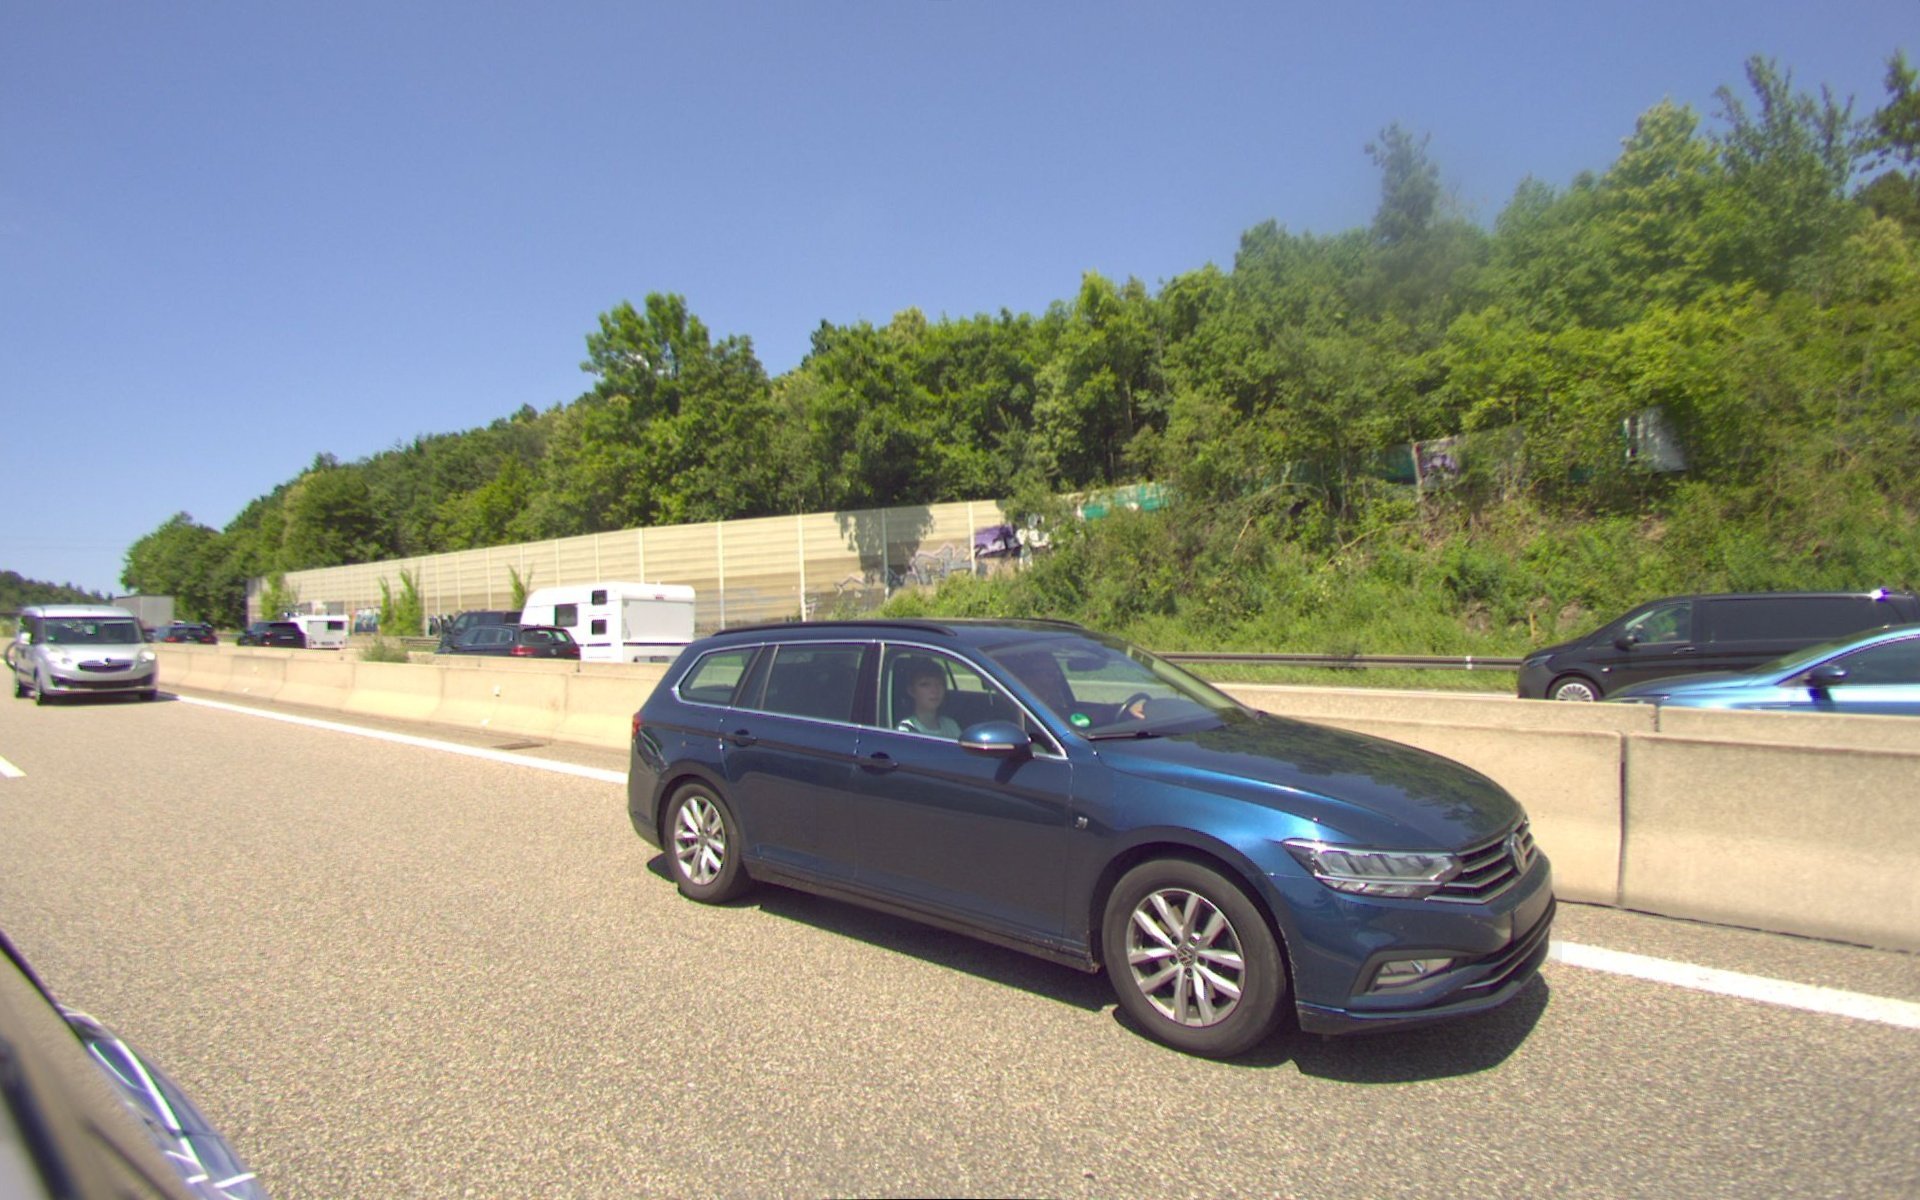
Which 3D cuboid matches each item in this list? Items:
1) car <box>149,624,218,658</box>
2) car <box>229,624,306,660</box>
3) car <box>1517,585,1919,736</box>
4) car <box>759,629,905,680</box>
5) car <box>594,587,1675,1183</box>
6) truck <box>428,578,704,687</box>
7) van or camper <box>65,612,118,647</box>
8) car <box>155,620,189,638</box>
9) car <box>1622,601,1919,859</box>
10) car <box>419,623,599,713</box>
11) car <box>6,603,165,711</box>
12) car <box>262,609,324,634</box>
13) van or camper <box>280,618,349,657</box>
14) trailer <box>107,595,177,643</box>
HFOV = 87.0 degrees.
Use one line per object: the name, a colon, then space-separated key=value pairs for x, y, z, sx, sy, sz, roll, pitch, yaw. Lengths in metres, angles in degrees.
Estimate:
car: x=-34.004 y=1.768 z=44.286 sx=4.268 sy=1.386 sz=1.597 roll=-2 pitch=-2 yaw=41
car: x=-33.351 y=1.998 z=48.704 sx=4.925 sy=1.652 sz=1.905 roll=-2 pitch=-2 yaw=41
car: x=10.674 y=0.789 z=14.127 sx=4.858 sy=1.823 sz=1.717 roll=-2 pitch=-2 yaw=39
car: x=-4.096 y=1.657 z=31.919 sx=4.692 sy=1.446 sz=1.926 roll=-1 pitch=-2 yaw=41
car: x=0.313 y=0.754 z=4.681 sx=4.728 sy=1.438 sz=1.714 roll=-2 pitch=-2 yaw=41
truck: x=-12.029 y=0.902 z=29.880 sx=11.623 sy=2.709 sz=2.501 roll=-1 pitch=-2 yaw=41
van or camper: x=-71.062 y=2.361 z=82.791 sx=6.802 sy=2.756 sz=2.246 roll=-1 pitch=-2 yaw=41
car: x=-78.585 y=2.884 z=100.949 sx=5.105 sy=1.824 sz=1.790 roll=-1 pitch=-2 yaw=42
car: x=7.479 y=0.912 z=7.493 sx=4.178 sy=1.785 sz=1.755 roll=-1 pitch=-2 yaw=38
car: x=-10.307 y=1.455 z=22.955 sx=4.692 sy=1.815 sz=1.926 roll=-1 pitch=-2 yaw=41
car: x=-16.902 y=1.050 z=19.509 sx=3.998 sy=1.858 sz=1.757 roll=-2 pitch=-3 yaw=41
car: x=-37.983 y=1.229 z=57.585 sx=4.721 sy=1.357 sz=1.782 roll=-2 pitch=-2 yaw=41
van or camper: x=-34.214 y=1.987 z=53.625 sx=3.702 sy=1.992 sz=2.055 roll=-2 pitch=-3 yaw=41
trailer: x=-72.751 y=1.688 z=89.871 sx=13.826 sy=3.938 sz=2.782 roll=-1 pitch=-2 yaw=43
